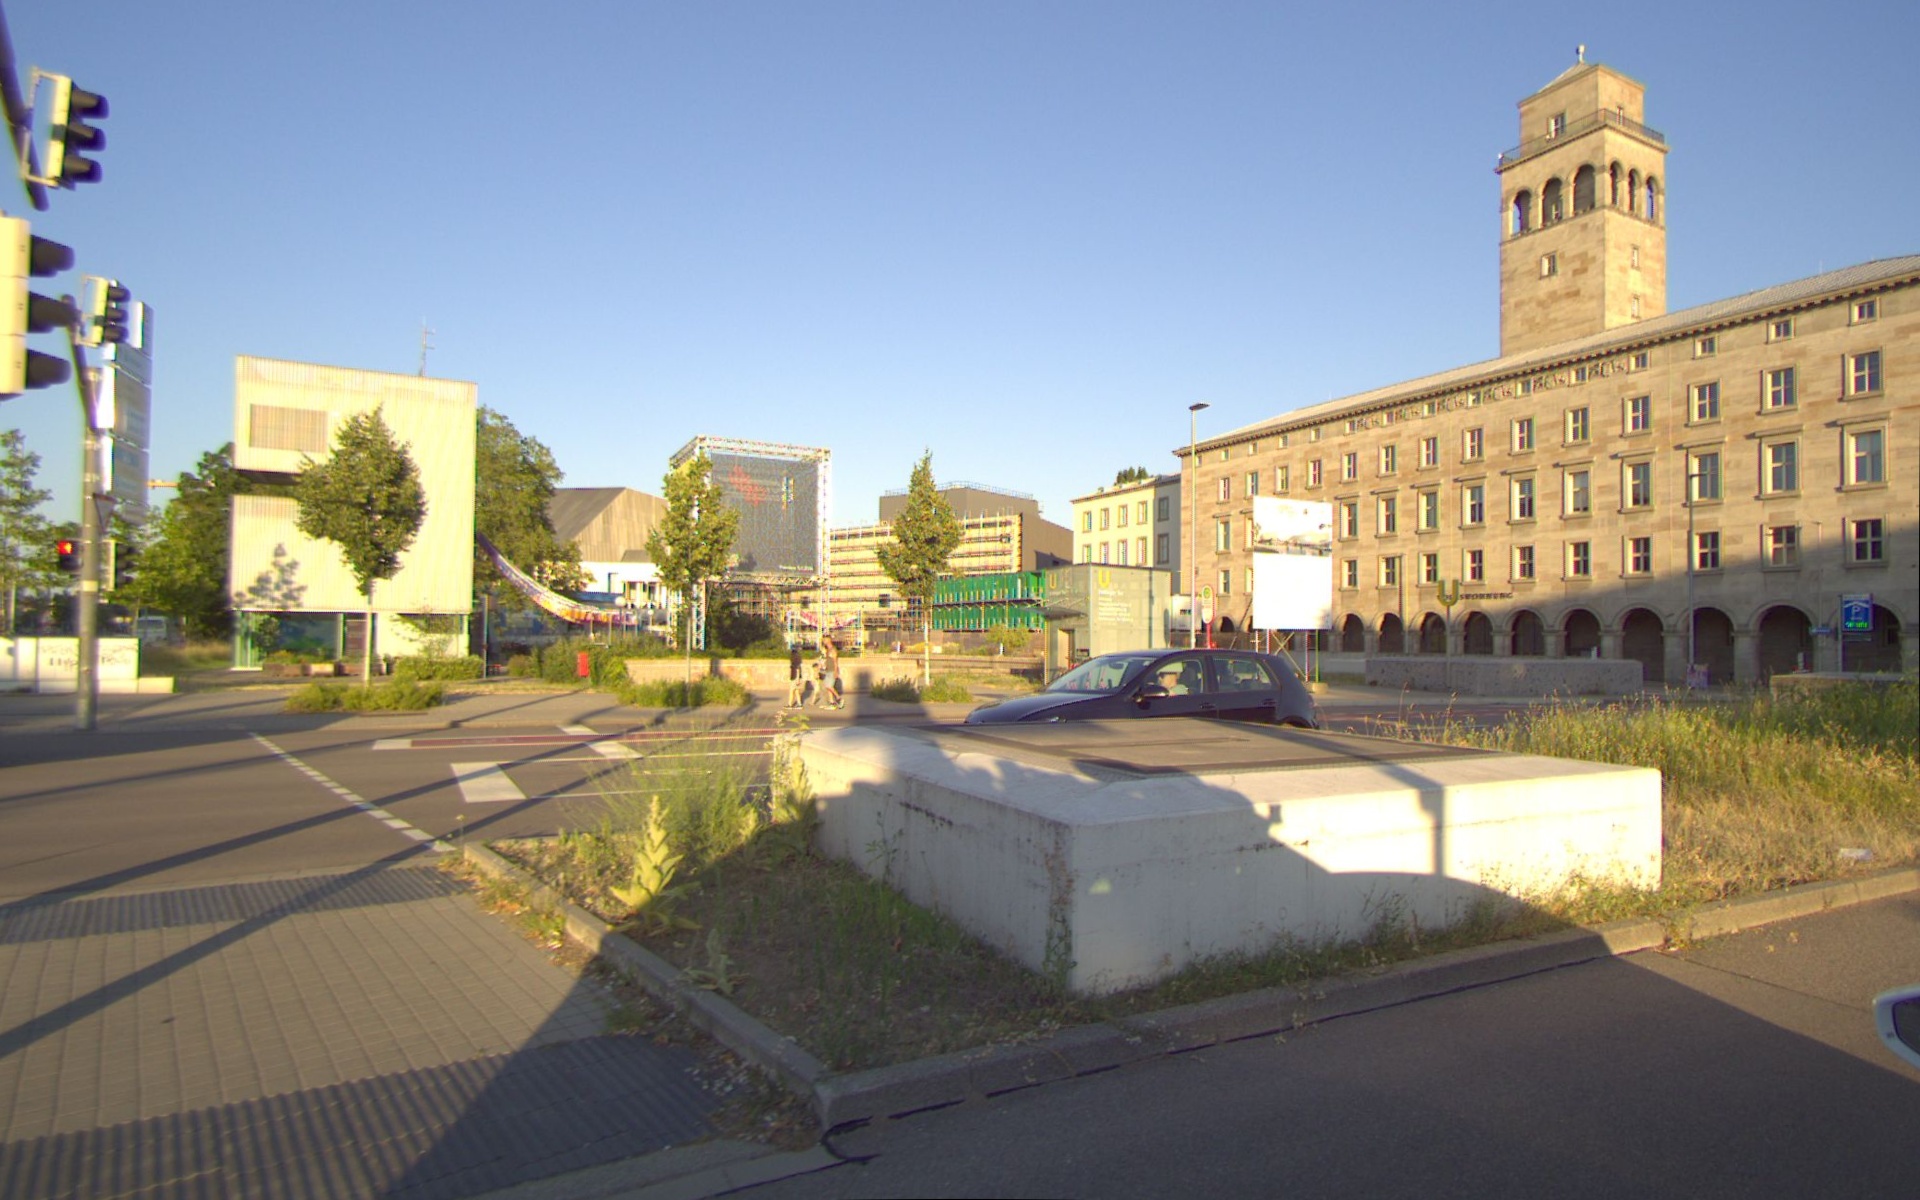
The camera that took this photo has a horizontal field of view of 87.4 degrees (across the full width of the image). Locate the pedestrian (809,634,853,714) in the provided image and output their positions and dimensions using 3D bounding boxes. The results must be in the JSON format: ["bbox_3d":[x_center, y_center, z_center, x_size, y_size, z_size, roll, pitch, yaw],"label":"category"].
[{"bbox_3d":[-3.182,1.810,24.780,0.766,1.861,0.868,2,1,-27],"label":"pedestrian"}]

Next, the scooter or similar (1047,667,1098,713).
[{"bbox_3d":[3.494,2.792,31.394,0.495,1.322,1.847,3,-3,-34],"label":"scooter or similar"}]

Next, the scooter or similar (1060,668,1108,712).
[{"bbox_3d":[3.897,2.823,31.698,0.413,1.322,1.777,3,-3,-33],"label":"scooter or similar"}]

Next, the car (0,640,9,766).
[{"bbox_3d":[-13.088,1.146,10.687,3.953,1.546,1.627,3,-3,-30],"label":"car"}]

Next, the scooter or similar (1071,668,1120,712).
[{"bbox_3d":[4.300,2.840,31.958,0.419,1.322,1.819,3,-3,-33],"label":"scooter or similar"}]

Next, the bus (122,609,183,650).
[{"bbox_3d":[-78.384,2.892,97.695,3.520,3.763,8.844,2,-3,-33],"label":"bus"}]

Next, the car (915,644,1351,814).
[{"bbox_3d":[1.934,1.267,10.826,4.484,1.485,1.878,3,-3,-30],"label":"car"}]

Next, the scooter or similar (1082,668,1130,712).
[{"bbox_3d":[4.664,2.854,32.201,0.419,1.322,1.824,3,-3,-33],"label":"scooter or similar"}]

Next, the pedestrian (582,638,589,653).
[{"bbox_3d":[-36.291,4.433,97.351,0.568,1.426,0.381,-1,-3,41],"label":"pedestrian"}]

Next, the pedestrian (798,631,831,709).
[{"bbox_3d":[-3.709,1.765,25.555,0.639,1.958,0.657,1,-2,-27],"label":"pedestrian"}]

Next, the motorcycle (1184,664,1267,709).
[{"bbox_3d":[9.460,3.074,35.959,0.830,1.401,3.218,3,-2,-29],"label":"motorcycle"}]

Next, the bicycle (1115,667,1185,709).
[{"bbox_3d":[6.313,2.911,33.310,2.480,1.341,0.614,3,-3,-31],"label":"bicycle"}]

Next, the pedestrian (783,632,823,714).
[{"bbox_3d":[-3.838,1.777,24.544,0.766,1.959,0.629,1,-1,-27],"label":"pedestrian"}]
